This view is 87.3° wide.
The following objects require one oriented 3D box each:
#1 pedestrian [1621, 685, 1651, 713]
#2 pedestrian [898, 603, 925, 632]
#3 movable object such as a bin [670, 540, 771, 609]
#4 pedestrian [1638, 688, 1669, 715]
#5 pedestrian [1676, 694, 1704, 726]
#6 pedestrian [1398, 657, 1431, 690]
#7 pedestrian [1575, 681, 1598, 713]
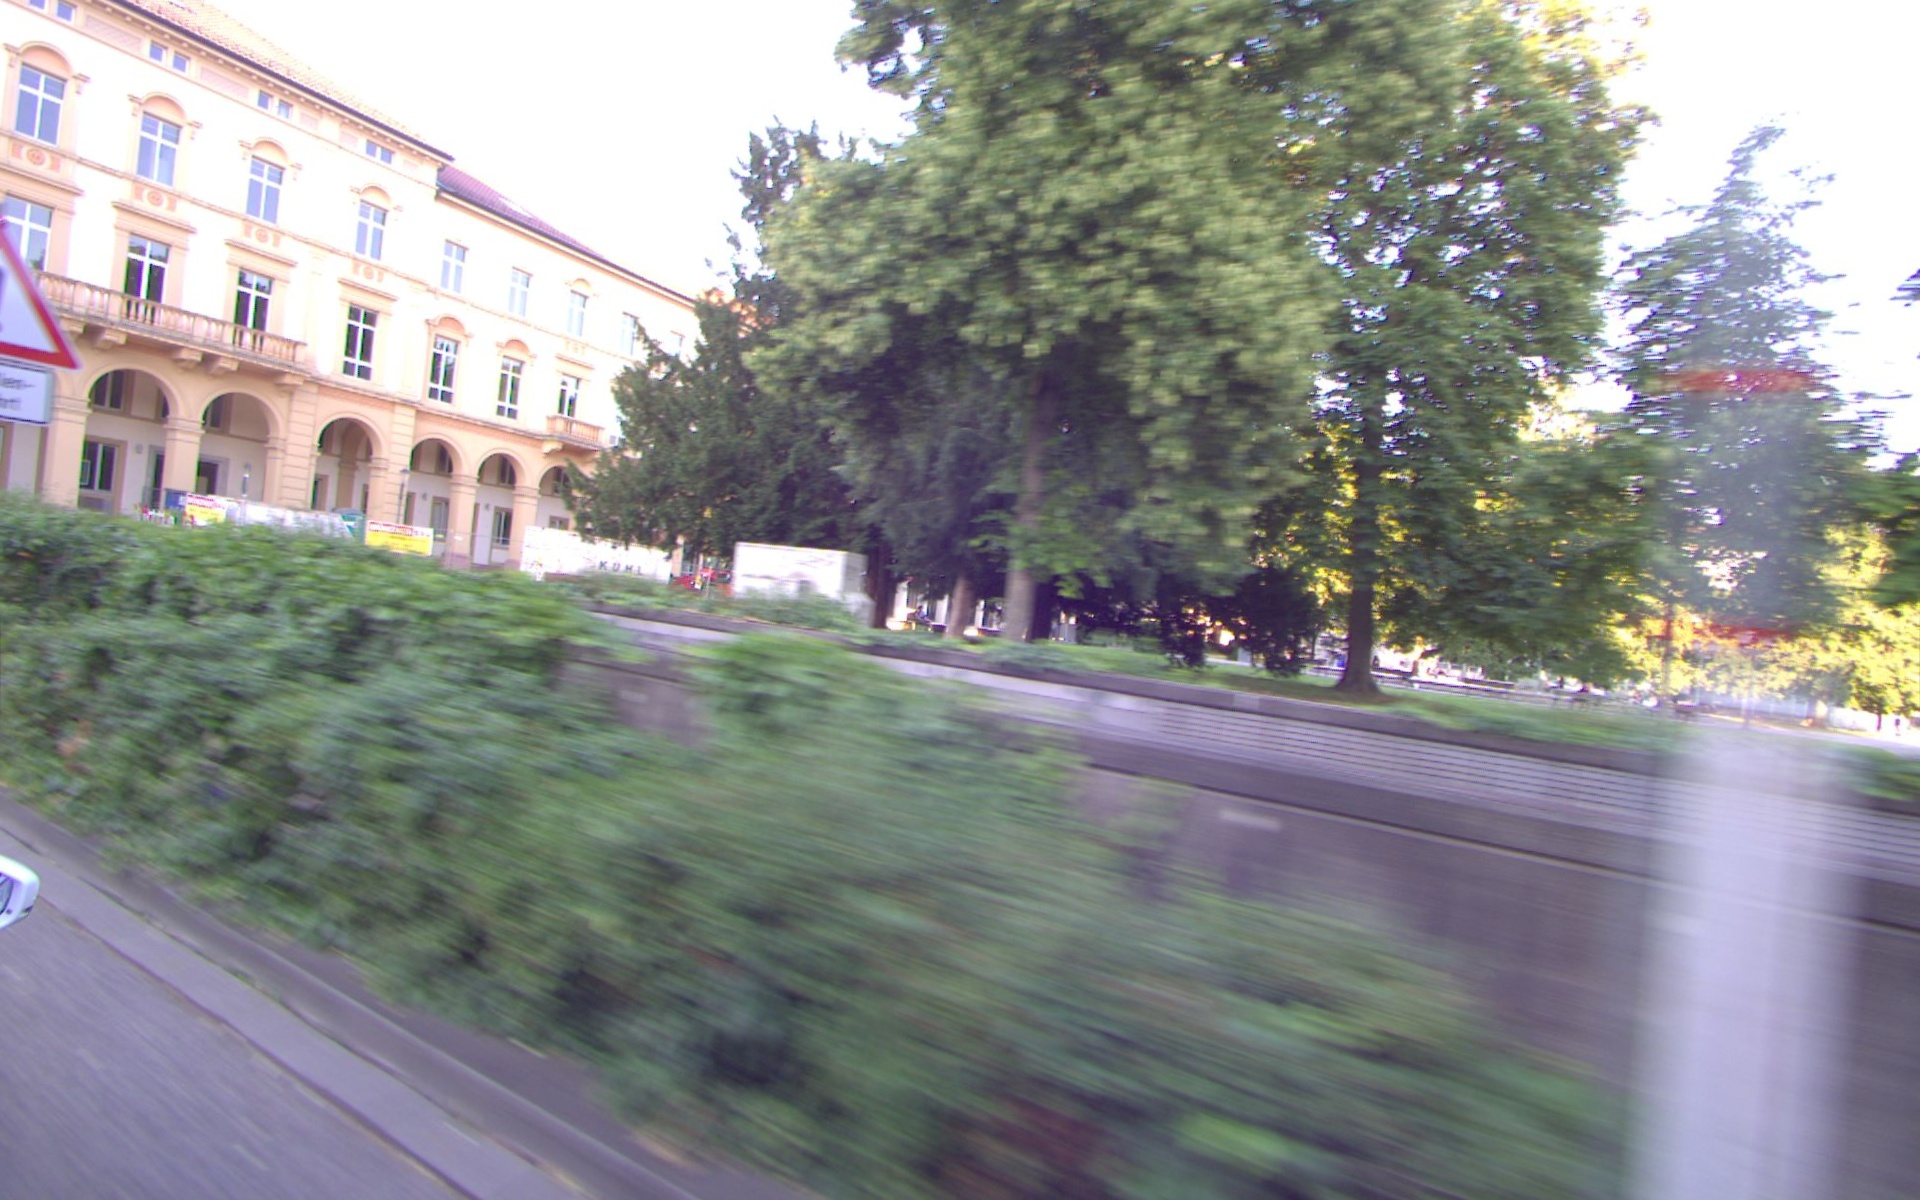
[{"bbox_3d":[39.519,5.790,58.800,1.134,1.387,0.831,8,1,-22],"label":"pedestrian"},{"bbox_3d":[-2.289,0.831,47.476,0.911,1.267,0.708,6,0,27],"label":"pedestrian"},{"bbox_3d":[-12.466,-1.264,52.645,1.967,3.045,4.892,7,0,32],"label":"movable object such as a bin"},{"bbox_3d":[39.949,5.847,57.951,1.134,1.387,0.831,8,1,-22],"label":"pedestrian"},{"bbox_3d":[30.272,4.555,41.733,0.724,1.215,1.103,7,1,30],"label":"pedestrian"},{"bbox_3d":[20.487,3.314,45.355,1.061,1.308,0.834,7,1,-40],"label":"pedestrian"},{"bbox_3d":[26.053,4.031,41.824,0.653,1.215,1.103,7,1,30],"label":"pedestrian"}]
